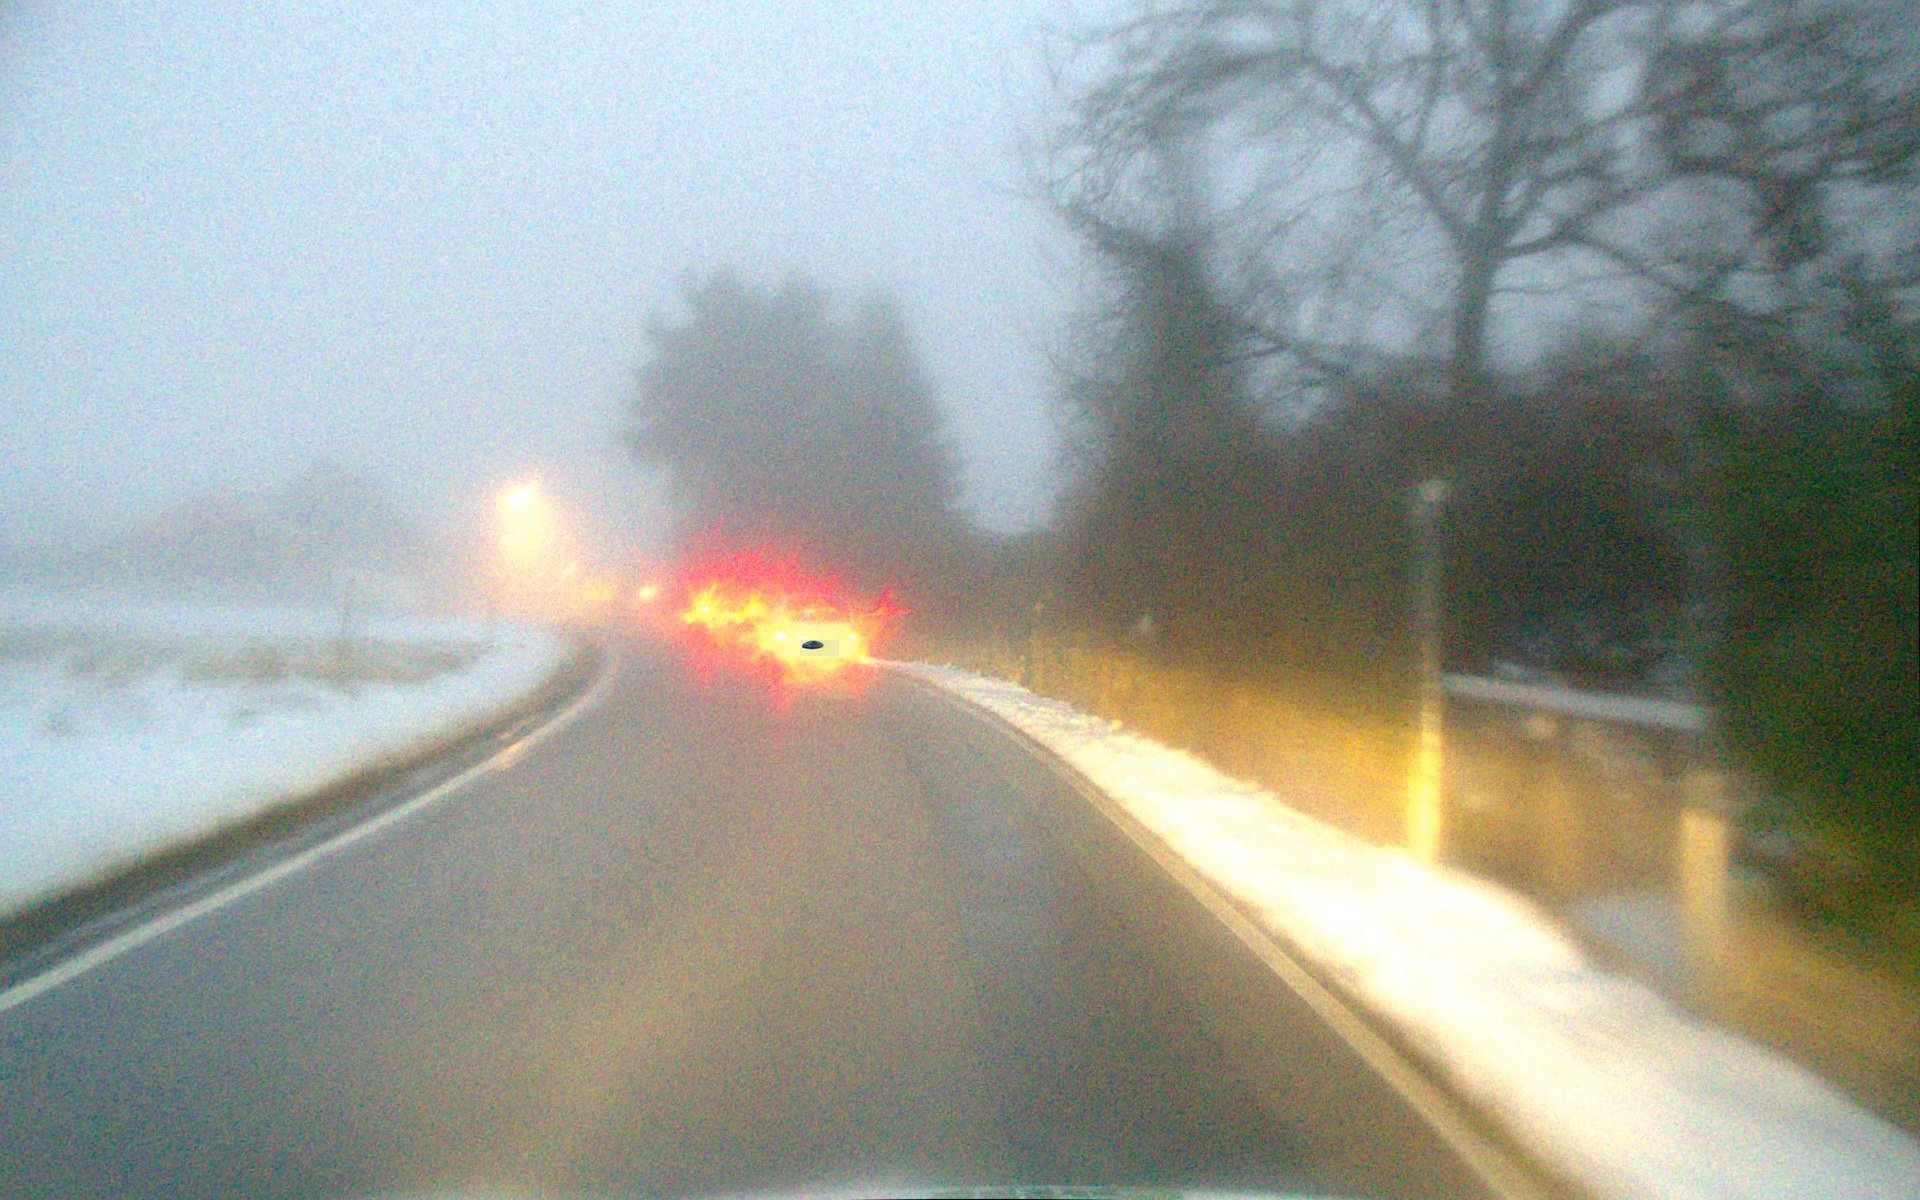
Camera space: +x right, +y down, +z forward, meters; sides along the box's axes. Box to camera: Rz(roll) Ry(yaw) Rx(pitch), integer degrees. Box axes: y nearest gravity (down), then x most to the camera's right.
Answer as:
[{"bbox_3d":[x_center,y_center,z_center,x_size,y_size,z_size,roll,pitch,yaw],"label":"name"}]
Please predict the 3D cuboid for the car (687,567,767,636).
[{"bbox_3d":[-6.512,0.056,45.928,1.958,1.780,3.988,1,-1,-12],"label":"car"}]

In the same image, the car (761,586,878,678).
[{"bbox_3d":[-2.610,0.562,30.169,1.955,1.534,3.994,1,-1,-6],"label":"car"}]
